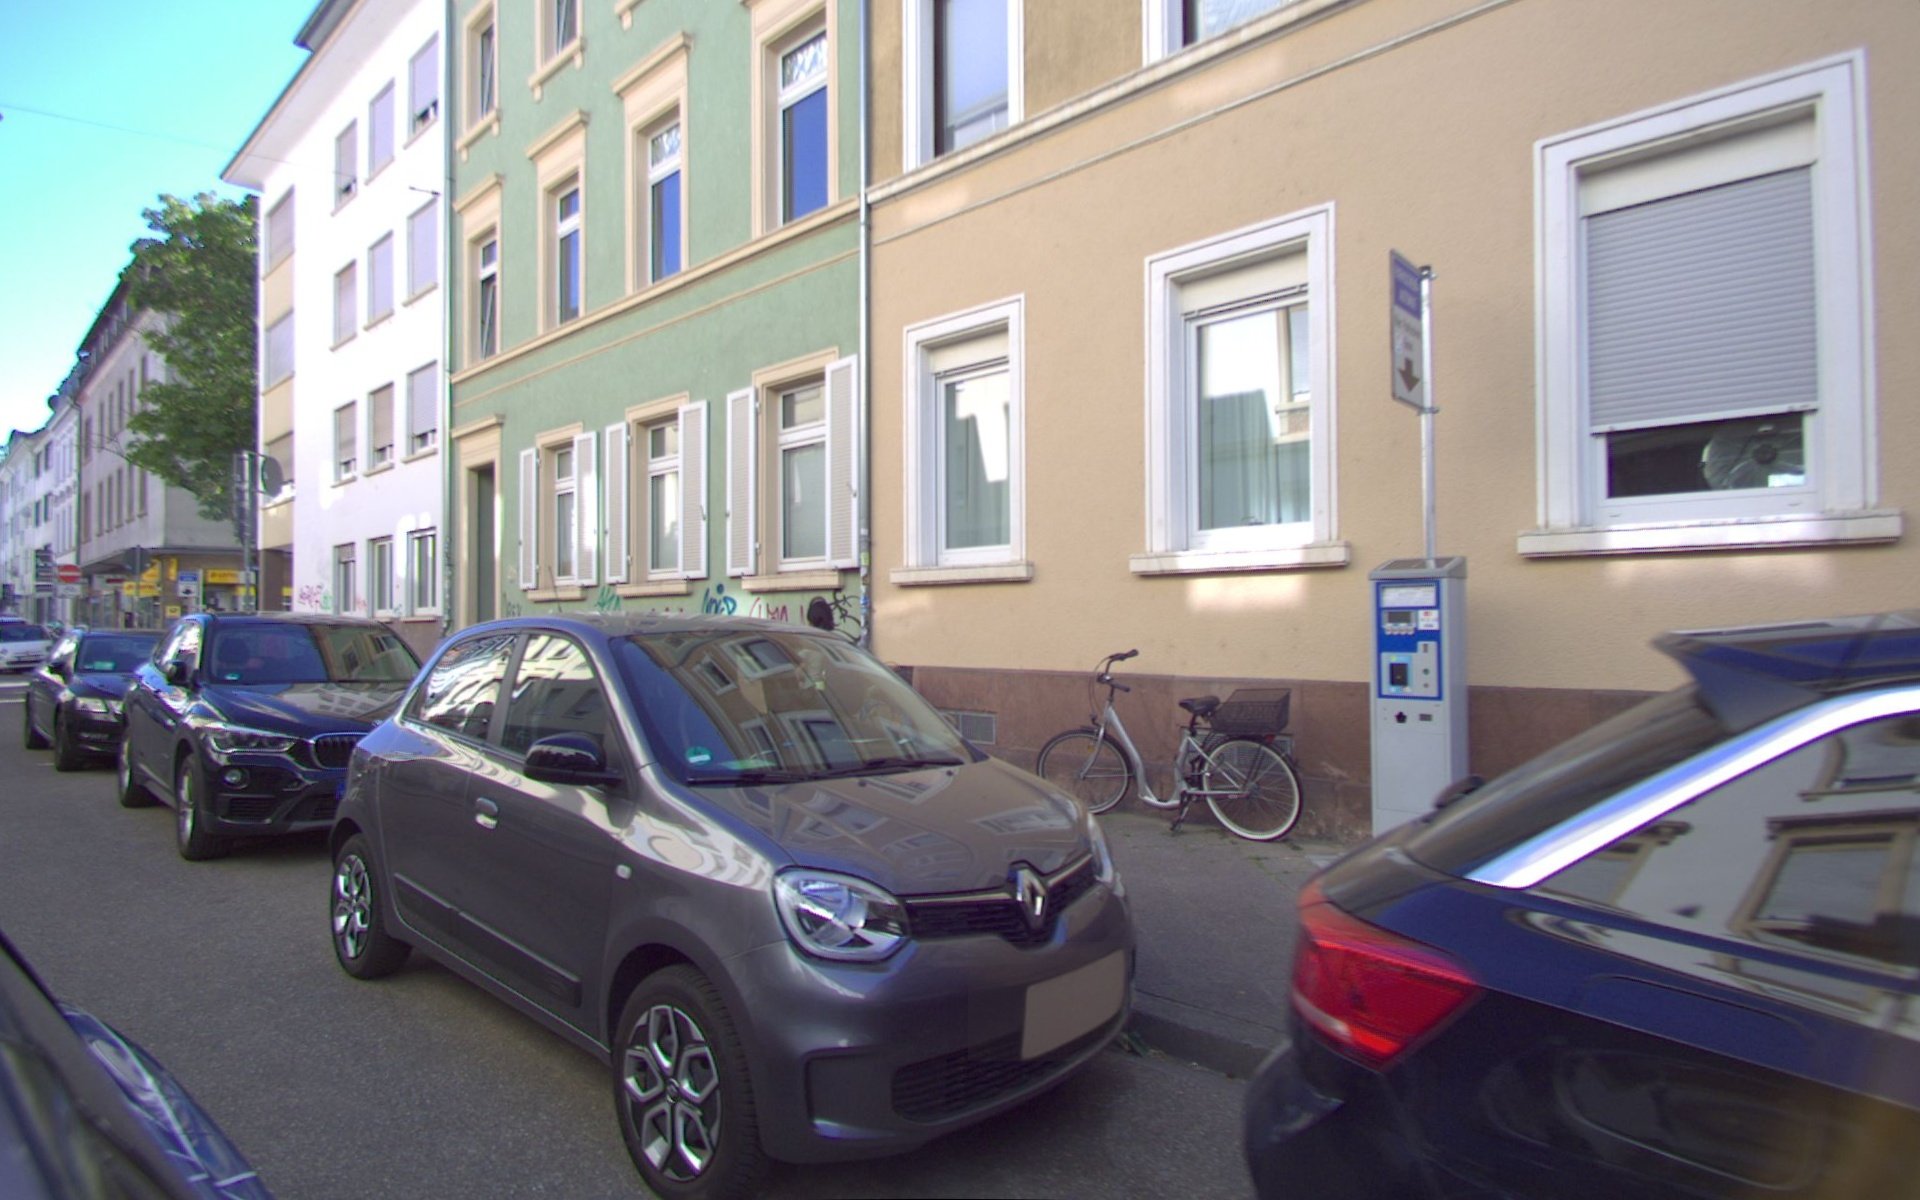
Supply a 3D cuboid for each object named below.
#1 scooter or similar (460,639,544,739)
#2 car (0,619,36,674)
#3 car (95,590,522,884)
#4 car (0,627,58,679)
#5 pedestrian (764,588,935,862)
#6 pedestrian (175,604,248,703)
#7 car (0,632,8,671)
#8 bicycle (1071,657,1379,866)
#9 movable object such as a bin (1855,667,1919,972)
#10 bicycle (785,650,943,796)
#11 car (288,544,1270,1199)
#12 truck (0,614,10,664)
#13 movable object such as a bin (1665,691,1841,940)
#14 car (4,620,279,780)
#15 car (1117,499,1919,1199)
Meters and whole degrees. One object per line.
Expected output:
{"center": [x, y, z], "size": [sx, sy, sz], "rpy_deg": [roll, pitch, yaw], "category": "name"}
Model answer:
{"center": [-6.011, 1.130, 13.244], "size": [0.448, 1.190, 1.692], "rpy_deg": [1, -1, -44], "category": "scooter or similar"}
{"center": [-35.077, 1.675, 36.717], "size": [4.807, 1.913, 1.748], "rpy_deg": [-2, -4, 42], "category": "car"}
{"center": [-5.257, 0.851, 7.863], "size": [4.603, 1.627, 1.725], "rpy_deg": [-2, -3, 44], "category": "car"}
{"center": [-30.389, 1.670, 32.627], "size": [3.723, 1.572, 1.649], "rpy_deg": [-2, -2, 44], "category": "car"}
{"center": [-0.765, 0.791, 6.974], "size": [0.883, 1.727, 0.756], "rpy_deg": [-1, 0, 42], "category": "pedestrian"}
{"center": [-14.509, 1.014, 19.604], "size": [1.245, 1.846, 0.901], "rpy_deg": [-1, -1, 43], "category": "pedestrian"}
{"center": [-39.636, 2.035, 40.609], "size": [4.487, 1.535, 1.647], "rpy_deg": [-2, -4, 42], "category": "car"}
{"center": [1.554, 0.910, 6.194], "size": [1.835, 1.064, 0.398], "rpy_deg": [-1, -1, 40], "category": "bicycle"}
{"center": [3.945, 0.817, 3.877], "size": [0.682, 1.097, 0.728], "rpy_deg": [-3, -3, 39], "category": "movable object such as a bin"}
{"center": [-0.858, 0.972, 8.519], "size": [0.356, 1.036, 1.921], "rpy_deg": [1, -1, -38], "category": "bicycle"}
{"center": [-1.049, 0.728, 3.879], "size": [3.976, 1.565, 1.598], "rpy_deg": [-2, -2, 42], "category": "car"}
{"center": [-47.793, 1.821, 48.549], "size": [6.338, 2.326, 2.144], "rpy_deg": [-1, -3, 37], "category": "truck"}
{"center": [3.475, 0.902, 4.443], "size": [0.560, 0.944, 0.467], "rpy_deg": [-2, 0, 41], "category": "movable object such as a bin"}
{"center": [-9.637, 1.026, 11.751], "size": [4.851, 1.500, 1.695], "rpy_deg": [-1, -4, 42], "category": "car"}
{"center": [2.372, 0.680, 0.556], "size": [4.368, 1.543, 1.694], "rpy_deg": [-2, -3, 44], "category": "car"}
